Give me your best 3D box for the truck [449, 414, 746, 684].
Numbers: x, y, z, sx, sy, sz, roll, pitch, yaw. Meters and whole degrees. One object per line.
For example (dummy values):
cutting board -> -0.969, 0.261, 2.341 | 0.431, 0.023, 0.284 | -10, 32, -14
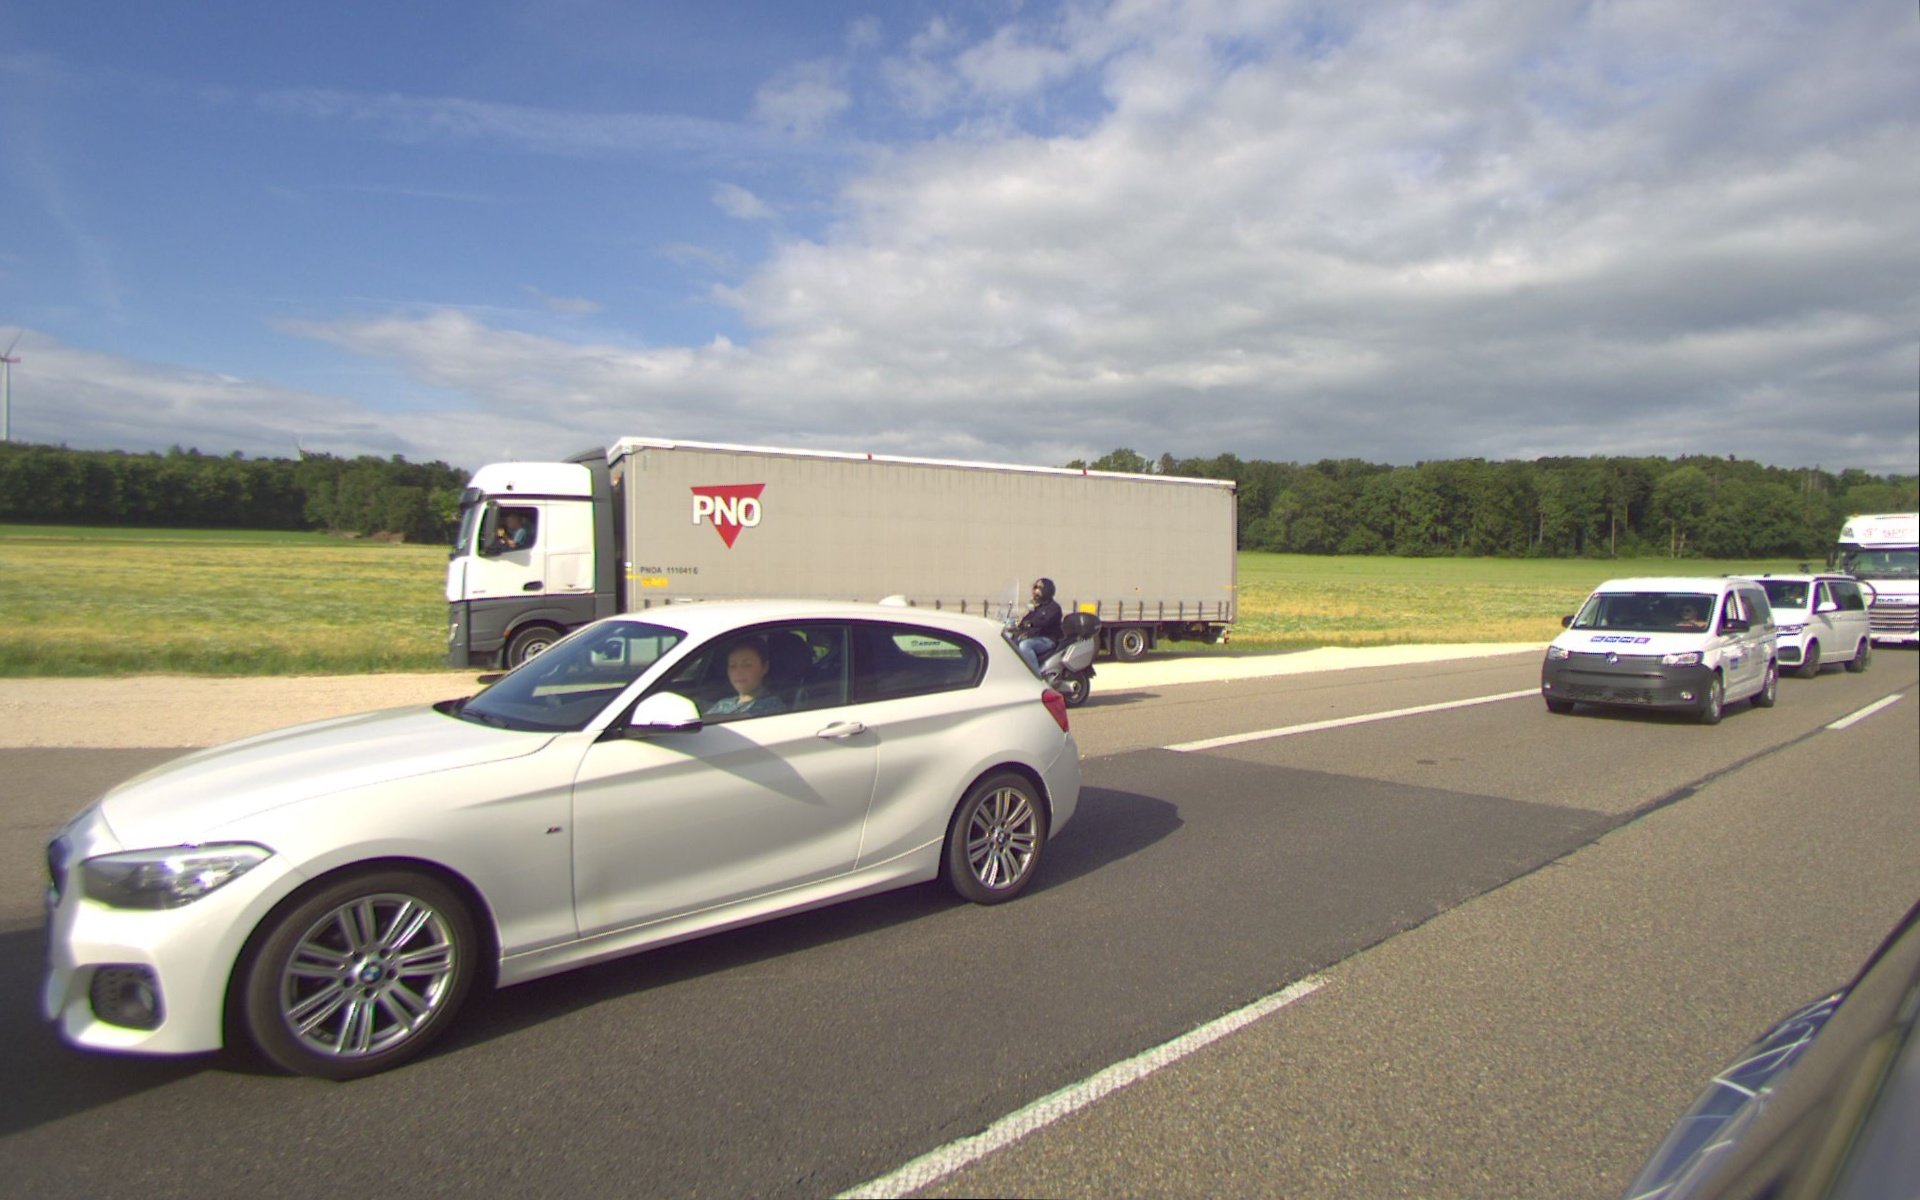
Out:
truck -> -6.493, -0.805, 18.105 | 4.662, 4.227, 2.726 | 0, 0, -26

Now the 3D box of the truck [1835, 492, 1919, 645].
truck -> 28.363, -0.914, 30.146 | 5.667, 4.226, 2.733 | -1, 0, -41

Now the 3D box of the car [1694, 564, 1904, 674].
car -> 16.857, 0.334, 20.255 | 5.165, 1.949, 1.801 | 0, 0, -33

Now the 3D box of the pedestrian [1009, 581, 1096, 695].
pedestrian -> 1.176, 0.459, 12.878 | 0.803, 1.391, 0.758 | 0, 0, -32

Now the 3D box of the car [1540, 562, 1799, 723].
car -> 9.477, 0.464, 13.368 | 4.620, 1.779, 1.727 | 0, 0, -41

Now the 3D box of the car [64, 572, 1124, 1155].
car -> -1.248, 0.652, 4.562 | 4.159, 1.450, 1.706 | 0, 0, -42

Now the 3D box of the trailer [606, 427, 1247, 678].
trailer -> -0.134, -0.789, 21.245 | 13.544, 4.213, 2.748 | 0, 0, -26

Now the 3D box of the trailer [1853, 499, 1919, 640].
trailer -> 33.744, -1.016, 34.926 | 13.778, 4.212, 2.739 | -1, 1, -42

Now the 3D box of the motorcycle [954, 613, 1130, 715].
motorcycle -> 1.064, 0.759, 12.807 | 2.200, 1.164, 0.759 | 0, 1, -32
